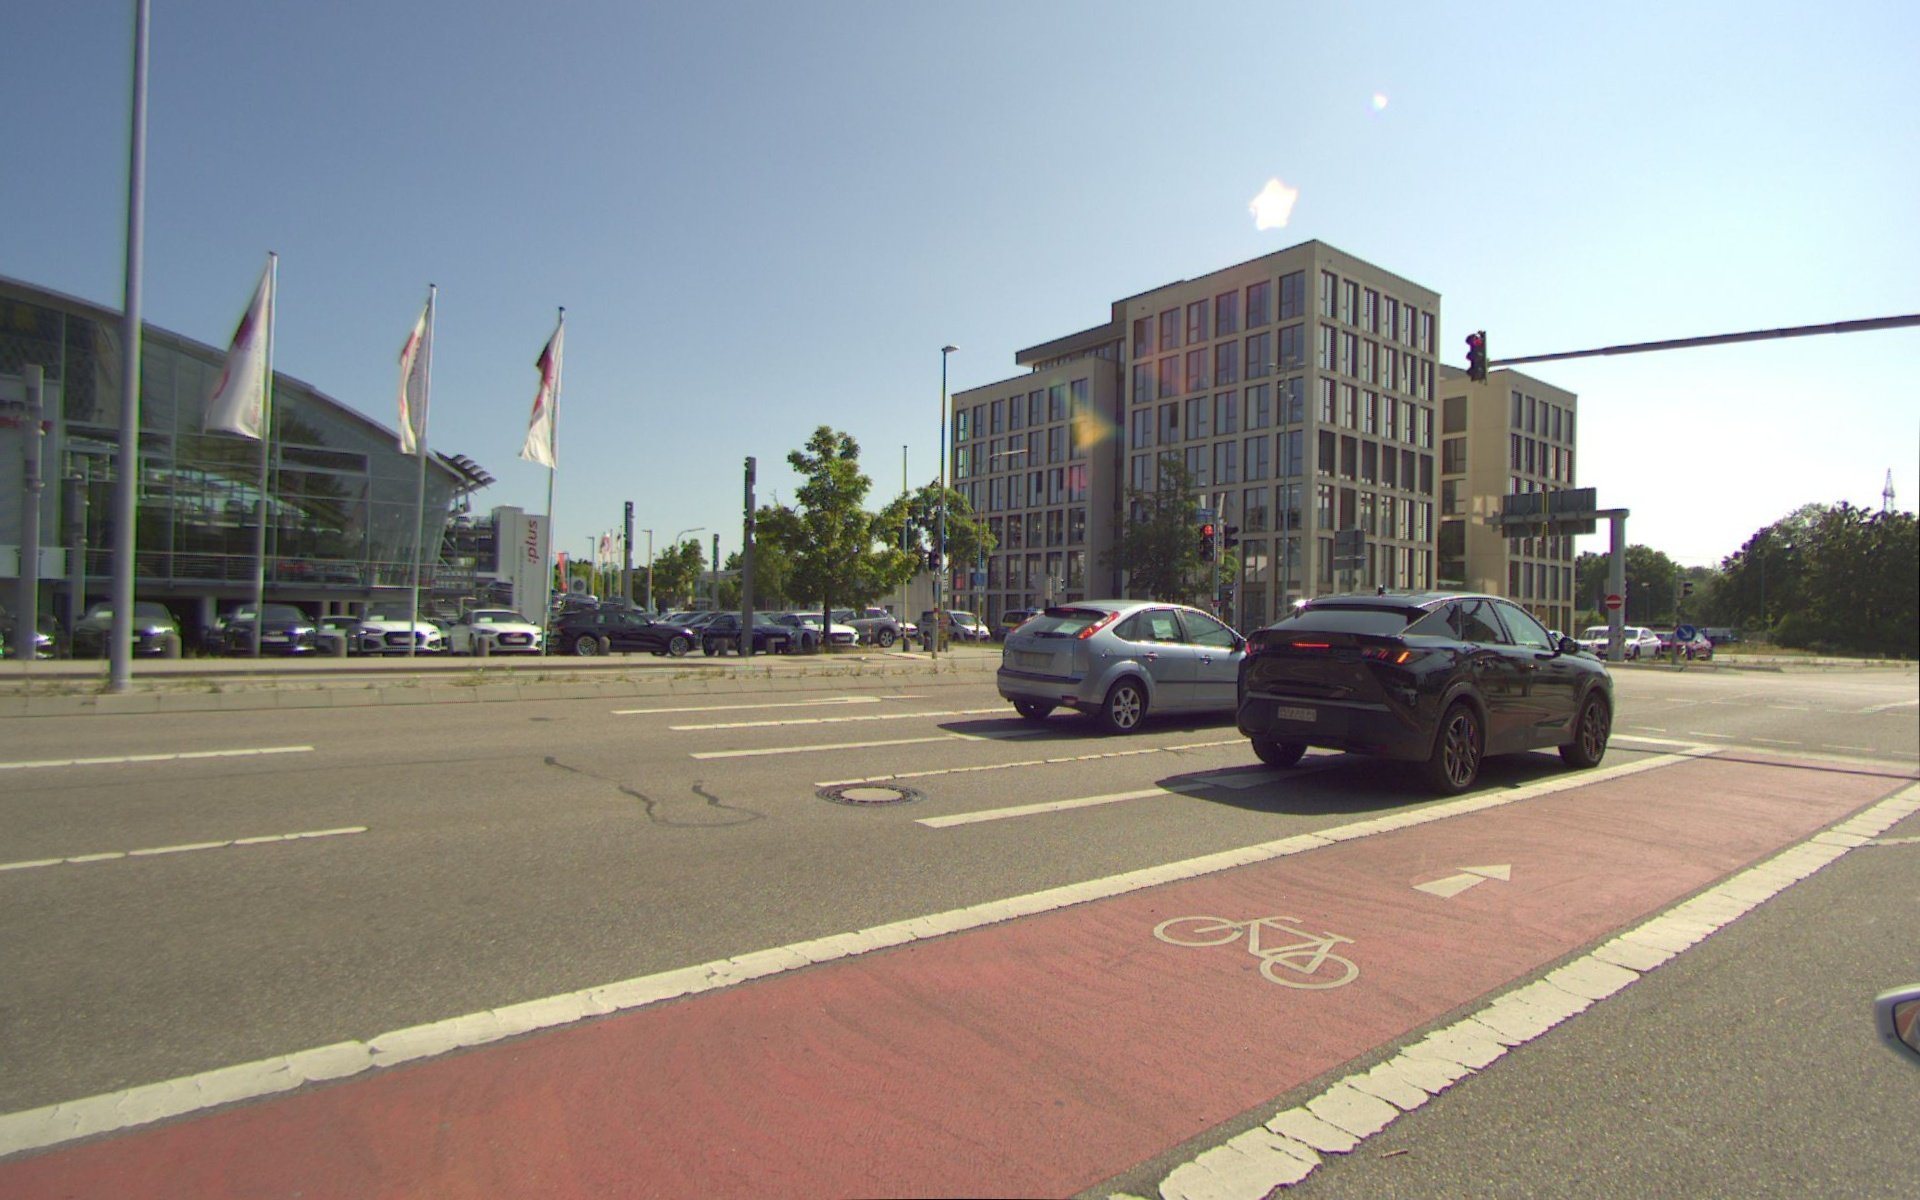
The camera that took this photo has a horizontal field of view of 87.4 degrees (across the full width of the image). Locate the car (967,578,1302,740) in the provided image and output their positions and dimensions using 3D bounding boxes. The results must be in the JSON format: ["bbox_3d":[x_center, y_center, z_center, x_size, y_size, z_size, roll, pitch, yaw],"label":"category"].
[{"bbox_3d":[2.250,0.679,12.572,3.963,1.706,1.979,2,-1,-37],"label":"car"}]

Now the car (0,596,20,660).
[{"bbox_3d":[-21.727,0.589,21.481,1.982,1.361,3.957,1,-2,-38],"label":"car"}]

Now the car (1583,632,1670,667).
[{"bbox_3d":[29.622,2.171,44.620,3.957,1.483,1.805,2,-2,-33],"label":"car"}]

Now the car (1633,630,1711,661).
[{"bbox_3d":[34.601,2.197,48.808,3.957,1.483,1.805,2,-2,-33],"label":"car"}]

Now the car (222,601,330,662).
[{"bbox_3d":[-17.018,0.757,24.909,1.982,1.361,3.957,1,-2,-38],"label":"car"}]

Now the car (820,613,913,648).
[{"bbox_3d":[-3.824,1.257,41.181,3.388,1.361,1.693,1,-1,-34],"label":"car"}]

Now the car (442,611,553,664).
[{"bbox_3d":[-13.010,1.009,28.135,1.982,1.361,3.957,1,-2,-38],"label":"car"}]

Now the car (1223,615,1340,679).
[{"bbox_3d":[7.575,1.057,23.585,2.772,1.349,1.207,0,2,-36],"label":"car"}]

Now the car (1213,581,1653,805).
[{"bbox_3d":[4.563,0.746,9.452,4.413,1.661,1.796,1,-1,-35],"label":"car"}]

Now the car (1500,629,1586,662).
[{"bbox_3d":[27.034,2.087,46.572,3.957,1.483,1.881,2,-2,-33],"label":"car"}]

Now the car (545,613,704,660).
[{"bbox_3d":[-10.377,1.115,31.172,4.394,1.361,1.693,1,-1,-34],"label":"car"}]

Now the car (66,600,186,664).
[{"bbox_3d":[-19.258,0.715,23.293,1.983,1.361,3.955,1,-2,-39],"label":"car"}]

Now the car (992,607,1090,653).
[{"bbox_3d":[3.809,1.417,48.087,1.981,2.077,4.882,2,-2,-35],"label":"car"}]

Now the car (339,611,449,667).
[{"bbox_3d":[-14.999,0.981,26.527,1.982,1.361,3.957,1,-2,-38],"label":"car"}]

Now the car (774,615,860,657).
[{"bbox_3d":[-4.950,1.212,34.501,1.628,1.361,3.390,1,-1,-34],"label":"car"}]

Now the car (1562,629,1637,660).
[{"bbox_3d":[32.639,2.257,51.236,3.957,1.483,1.805,2,-2,-33],"label":"car"}]
